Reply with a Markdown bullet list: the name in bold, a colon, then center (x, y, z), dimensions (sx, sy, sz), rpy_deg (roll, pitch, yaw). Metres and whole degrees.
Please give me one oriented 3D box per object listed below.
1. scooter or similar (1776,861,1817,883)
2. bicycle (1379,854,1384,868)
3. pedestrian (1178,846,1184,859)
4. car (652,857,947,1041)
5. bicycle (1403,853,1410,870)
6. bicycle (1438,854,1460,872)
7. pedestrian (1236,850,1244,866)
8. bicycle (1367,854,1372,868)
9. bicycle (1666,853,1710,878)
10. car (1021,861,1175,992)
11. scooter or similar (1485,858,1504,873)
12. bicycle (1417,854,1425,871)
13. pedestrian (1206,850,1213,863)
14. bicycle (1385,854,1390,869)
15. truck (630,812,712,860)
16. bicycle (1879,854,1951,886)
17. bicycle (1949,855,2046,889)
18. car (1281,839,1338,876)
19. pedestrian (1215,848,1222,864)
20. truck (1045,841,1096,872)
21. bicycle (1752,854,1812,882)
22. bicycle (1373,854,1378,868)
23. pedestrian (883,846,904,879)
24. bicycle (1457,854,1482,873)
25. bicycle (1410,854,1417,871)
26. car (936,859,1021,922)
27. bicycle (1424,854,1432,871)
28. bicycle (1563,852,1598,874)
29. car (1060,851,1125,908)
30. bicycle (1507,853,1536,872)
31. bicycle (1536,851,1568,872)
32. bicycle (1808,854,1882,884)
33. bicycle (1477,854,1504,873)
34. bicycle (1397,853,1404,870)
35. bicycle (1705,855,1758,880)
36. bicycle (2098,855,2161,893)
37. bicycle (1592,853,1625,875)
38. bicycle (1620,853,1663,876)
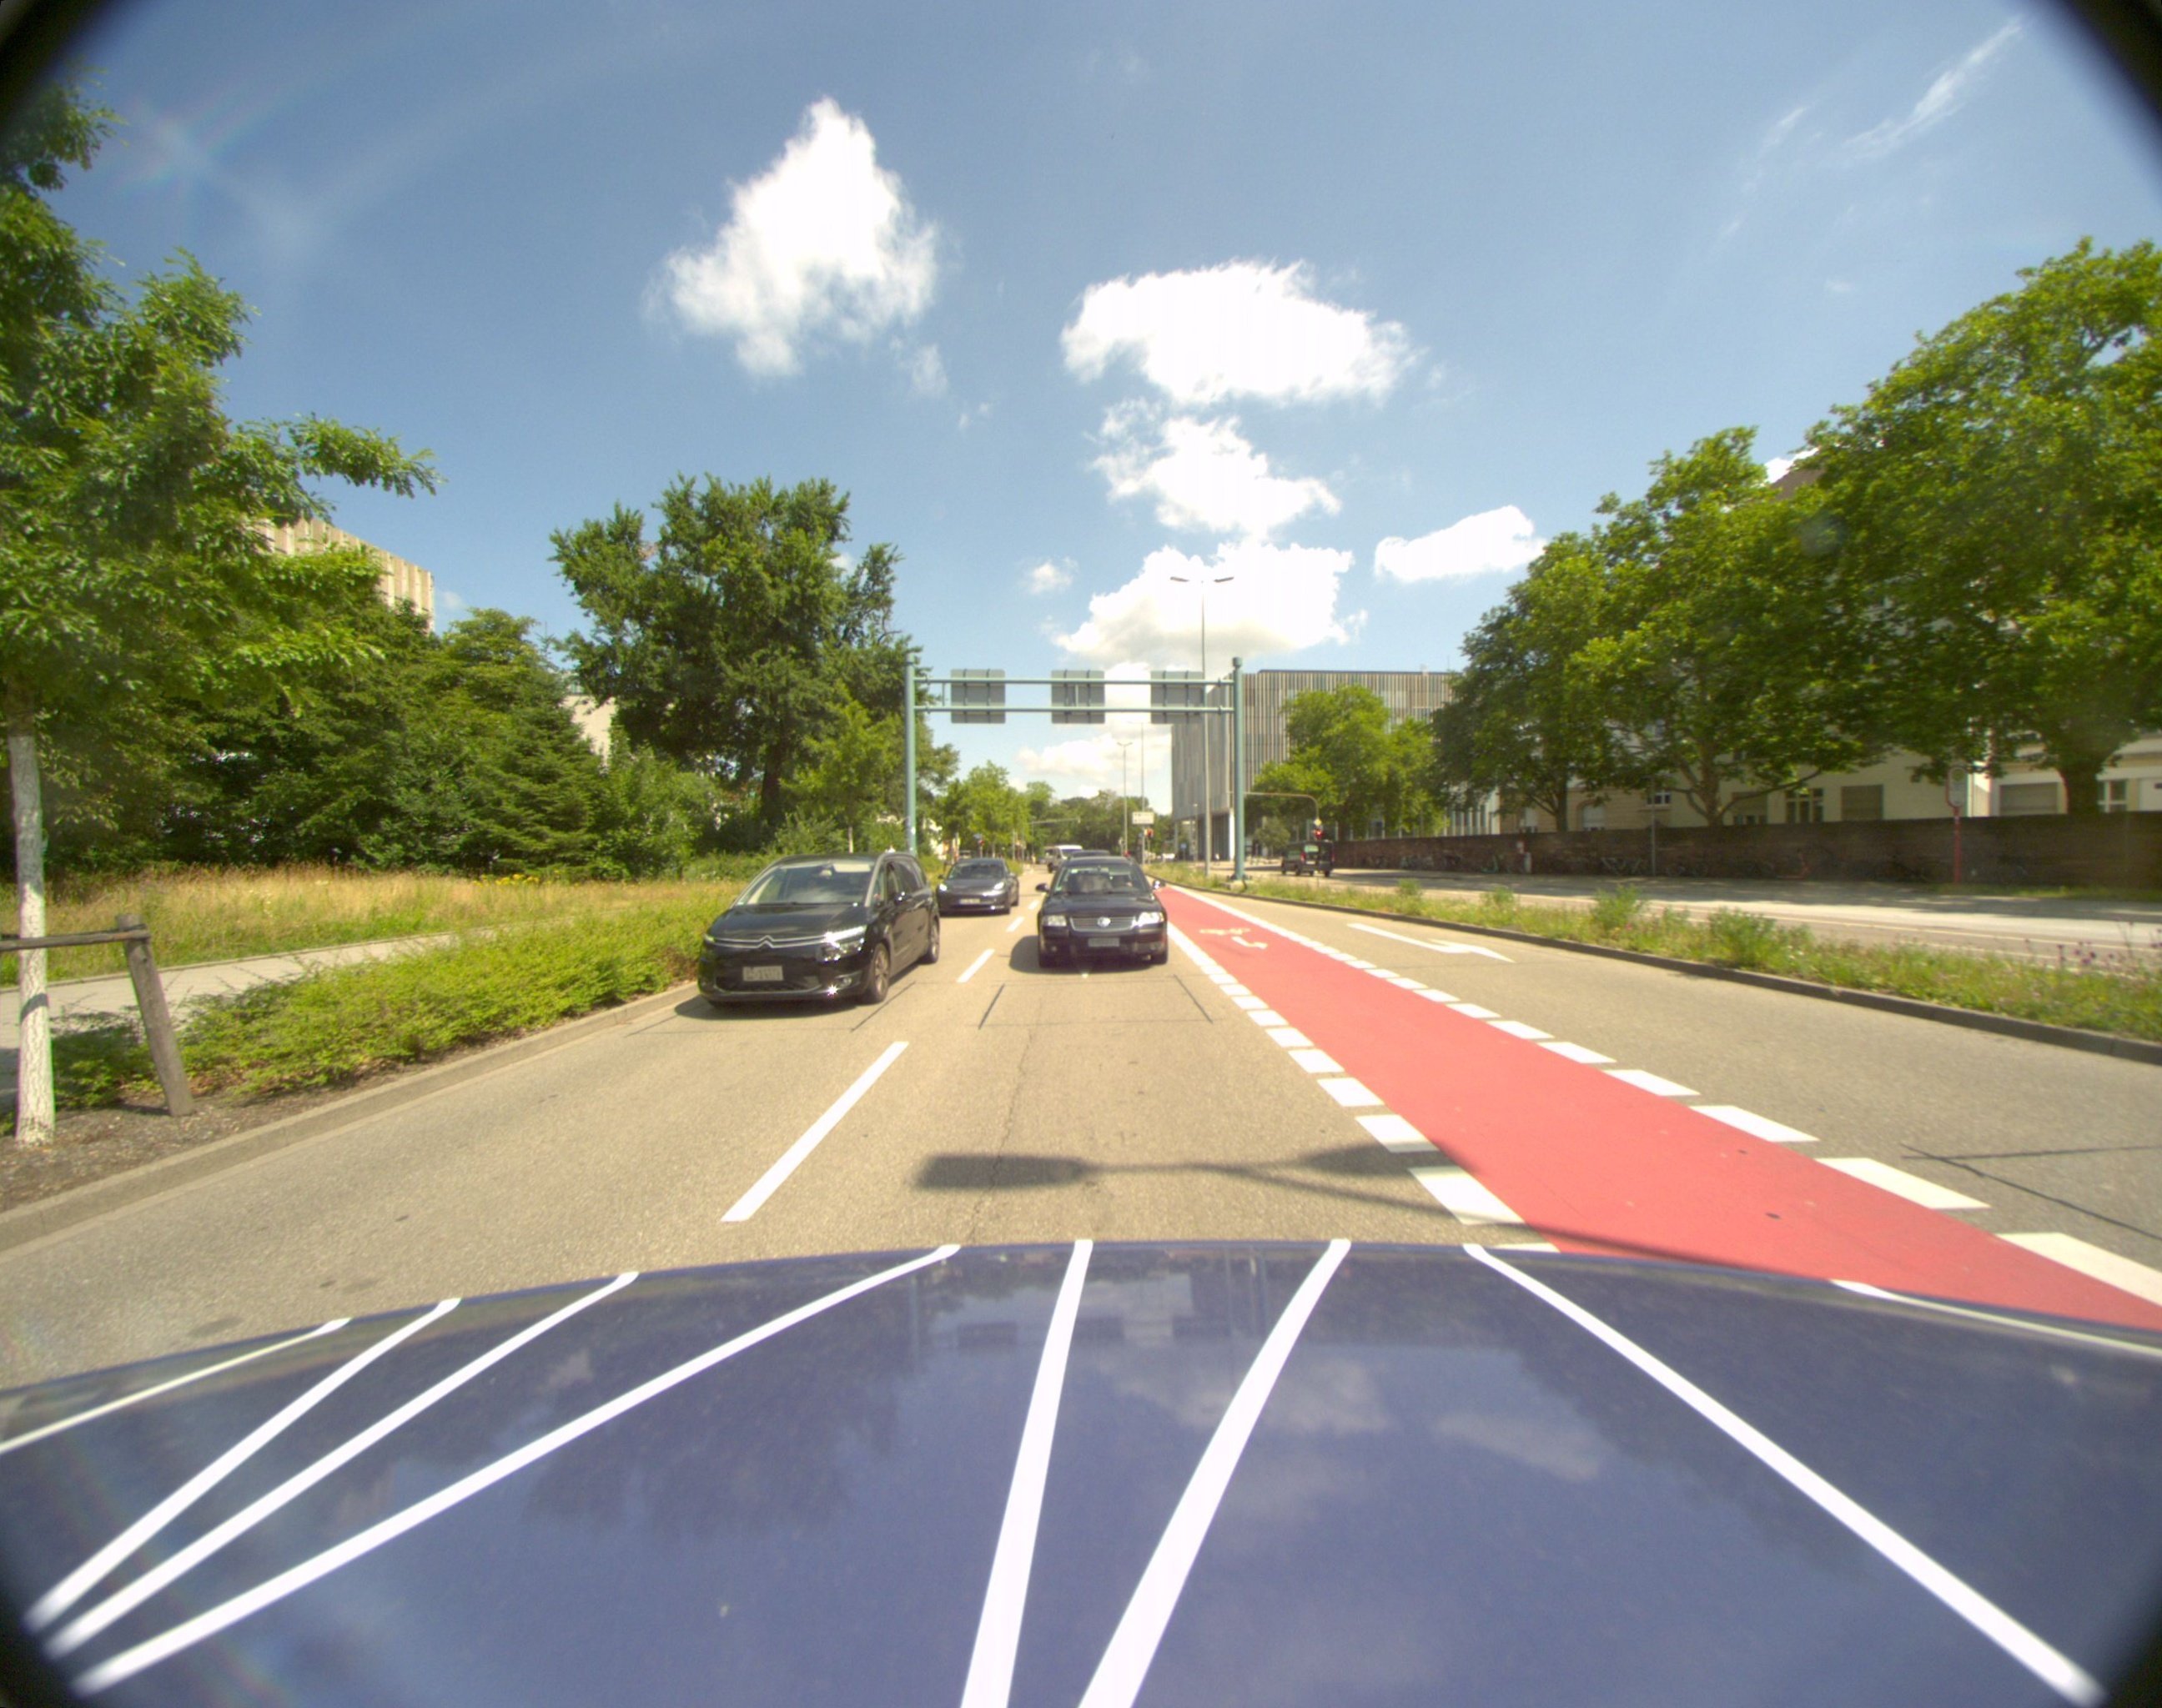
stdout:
- **scooter or similar**: center (26.902, 0.662, 28.564), dimensions (0.353, 0.789, 1.067), rpy_deg (-1, 1, -25)
- **bicycle**: center (21.964, 0.520, 55.457), dimensions (0.329, 1.012, 1.673), rpy_deg (0, 1, 21)
- **pedestrian**: center (15.880, -0.230, 120.298), dimensions (0.715, 1.906, 0.807), rpy_deg (-2, 2, -6)
- **car**: center (-3.016, 0.892, 9.331), dimensions (1.863, 1.613, 4.520), rpy_deg (-3, 0, 0)
- **bicycle**: center (22.398, 0.507, 52.228), dimensions (0.382, 1.101, 1.673), rpy_deg (0, 1, 21)
- **bicycle**: center (23.250, 0.587, 48.024), dimensions (0.383, 1.101, 1.669), rpy_deg (-1, 1, -9)
- **pedestrian**: center (19.059, 0.491, 91.154), dimensions (0.715, 1.906, 0.807), rpy_deg (-2, 2, -6)
- **bicycle**: center (21.684, 0.504, 57.113), dimensions (0.329, 1.012, 1.673), rpy_deg (0, 1, 21)
- **bicycle**: center (26.360, 0.483, 33.008), dimensions (0.398, 1.037, 1.581), rpy_deg (-1, 1, -14)
- **car**: center (0.236, 0.875, 11.154), dimensions (1.751, 1.426, 4.520), rpy_deg (-2, 0, 1)
- **scooter or similar**: center (23.454, 0.655, 43.125), dimensions (0.353, 0.838, 1.068), rpy_deg (-1, 1, -13)
- **bicycle**: center (22.622, 0.553, 50.554), dimensions (0.382, 1.101, 1.673), rpy_deg (0, 1, 21)
- **pedestrian**: center (19.300, 0.387, 113.851), dimensions (0.826, 1.906, 0.807), rpy_deg (-2, 2, -6)
- **bicycle**: center (22.076, 0.535, 54.745), dimensions (0.329, 1.012, 1.673), rpy_deg (0, 1, 21)
- **truck**: center (-27.922, -1.230, 52.147), dimensions (2.098, 3.005, 7.121), rpy_deg (-2, 1, -4)
- **bicycle**: center (28.407, 0.534, 25.914), dimensions (0.398, 1.037, 1.637), rpy_deg (-1, 1, -19)
- **bicycle**: center (29.032, 0.551, 24.117), dimensions (0.398, 1.037, 1.954), rpy_deg (-1, 1, -19)
- **car**: center (14.219, 0.194, 47.572), dimensions (2.214, 2.158, 4.520), rpy_deg (1, 0, 1)
- **pedestrian**: center (16.858, 0.248, 93.002), dimensions (0.632, 1.907, 0.718), rpy_deg (-2, 2, -3)
- **truck**: center (-0.958, 0.228, 62.039), dimensions (2.465, 2.287, 5.807), rpy_deg (-3, 0, -18)
- **bicycle**: center (27.255, 0.527, 29.566), dimensions (0.398, 1.037, 1.759), rpy_deg (-1, 1, -16)
- **bicycle**: center (21.823, 0.520, 56.384), dimensions (0.329, 1.012, 1.673), rpy_deg (0, 1, 21)
- **pedestrian**: center (-10.009, 0.440, 40.563), dimensions (0.844, 1.755, 0.841), rpy_deg (-2, 1, 0)
- **bicycle**: center (23.533, 0.569, 46.012), dimensions (0.383, 1.101, 1.668), rpy_deg (-1, 1, -11)
- **bicycle**: center (22.512, 0.545, 51.414), dimensions (0.382, 1.101, 1.673), rpy_deg (0, 1, 21)
- **car**: center (-2.634, 0.898, 20.451), dimensions (1.766, 1.409, 4.362), rpy_deg (-3, 0, -2)
- **bicycle**: center (22.766, 0.561, 49.799), dimensions (0.382, 1.101, 1.673), rpy_deg (0, 1, 21)
- **bicycle**: center (25.043, 0.444, 38.148), dimensions (0.383, 1.037, 1.668), rpy_deg (-1, 1, -12)
- **car**: center (0.311, 0.695, 23.303), dimensions (1.751, 1.495, 4.520), rpy_deg (-3, 0, 0)
- **bicycle**: center (24.202, 0.466, 41.754), dimensions (0.383, 1.037, 1.668), rpy_deg (-1, 1, -12)
- **bicycle**: center (24.682, 0.382, 39.869), dimensions (0.383, 1.037, 1.668), rpy_deg (-1, 1, -12)
- **bicycle**: center (27.798, 0.526, 27.692), dimensions (0.398, 1.037, 1.955), rpy_deg (-1, 1, -17)
- **bicycle**: center (23.877, 0.544, 44.290), dimensions (0.383, 1.101, 1.668), rpy_deg (-1, 1, -12)
- **bicycle**: center (22.134, 0.512, 52.664), dimensions (0.382, 1.101, 1.673), rpy_deg (0, 1, 21)
- **bicycle**: center (26.790, 0.555, 31.328), dimensions (0.398, 0.998, 1.759), rpy_deg (-1, 1, -14)
- **bicycle**: center (29.963, 0.561, 21.132), dimensions (0.398, 1.037, 1.954), rpy_deg (-1, 1, -19)
- **bicycle**: center (25.408, 0.465, 36.615), dimensions (0.378, 1.037, 1.415), rpy_deg (-1, 1, -14)
- **bicycle**: center (25.827, 0.469, 35.037), dimensions (0.398, 1.037, 1.759), rpy_deg (-1, 1, -14)
